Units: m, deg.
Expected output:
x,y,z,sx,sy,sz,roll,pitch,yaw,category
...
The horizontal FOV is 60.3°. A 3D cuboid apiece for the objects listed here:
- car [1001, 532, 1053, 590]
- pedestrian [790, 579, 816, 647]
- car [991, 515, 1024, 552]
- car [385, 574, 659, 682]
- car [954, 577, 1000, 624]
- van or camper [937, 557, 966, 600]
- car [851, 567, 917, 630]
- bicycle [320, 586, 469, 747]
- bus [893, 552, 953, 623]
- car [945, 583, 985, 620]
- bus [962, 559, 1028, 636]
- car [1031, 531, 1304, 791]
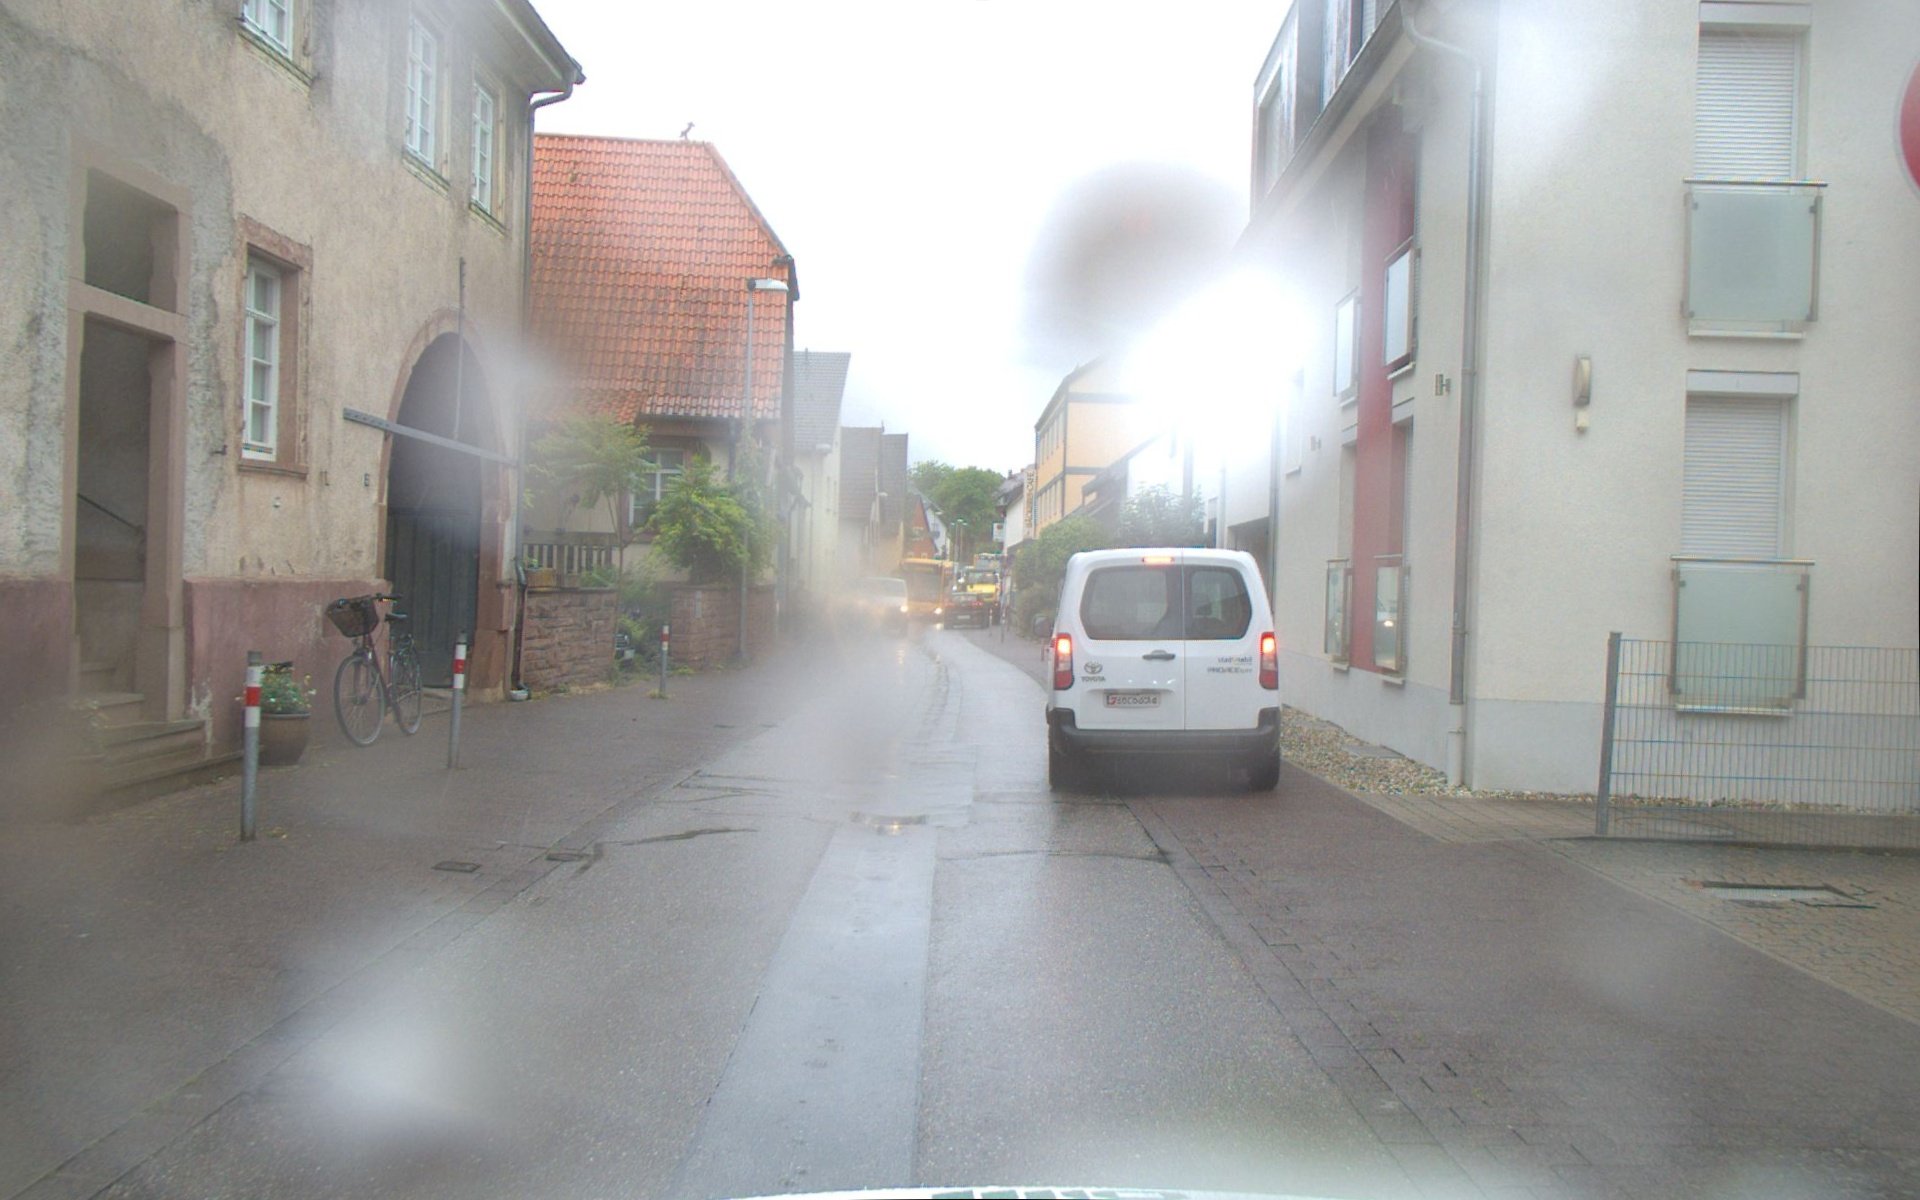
x,y,z,sx,sy,sz,roll,pitch,yaw,category
2.561,-1.485,64.038,1.790,2.049,3.693,3,0,0,car
-3.635,0.301,38.196,0.557,1.557,0.568,0,0,-9,pedestrian
2.951,-4.121,103.140,1.952,2.049,4.000,3,0,1,car
-6.253,0.384,23.833,3.454,1.400,1.595,2,0,2,car
0.593,0.032,58.094,1.530,1.506,3.585,3,0,0,car
-0.618,-1.557,121.466,1.797,2.976,5.364,3,0,1,van or camper
-2.583,-0.034,57.338,1.853,2.001,4.724,3,0,2,car
-4.566,0.511,13.467,0.473,1.200,1.836,3,0,2,bicycle
-1.848,-0.602,85.965,2.736,3.387,8.177,3,0,0,bus
0.233,0.064,67.815,1.530,1.395,3.585,3,0,1,car
1.548,-0.091,77.694,2.736,3.235,8.177,3,0,0,bus
1.569,0.438,13.841,1.758,1.850,4.101,0,0,0,car
